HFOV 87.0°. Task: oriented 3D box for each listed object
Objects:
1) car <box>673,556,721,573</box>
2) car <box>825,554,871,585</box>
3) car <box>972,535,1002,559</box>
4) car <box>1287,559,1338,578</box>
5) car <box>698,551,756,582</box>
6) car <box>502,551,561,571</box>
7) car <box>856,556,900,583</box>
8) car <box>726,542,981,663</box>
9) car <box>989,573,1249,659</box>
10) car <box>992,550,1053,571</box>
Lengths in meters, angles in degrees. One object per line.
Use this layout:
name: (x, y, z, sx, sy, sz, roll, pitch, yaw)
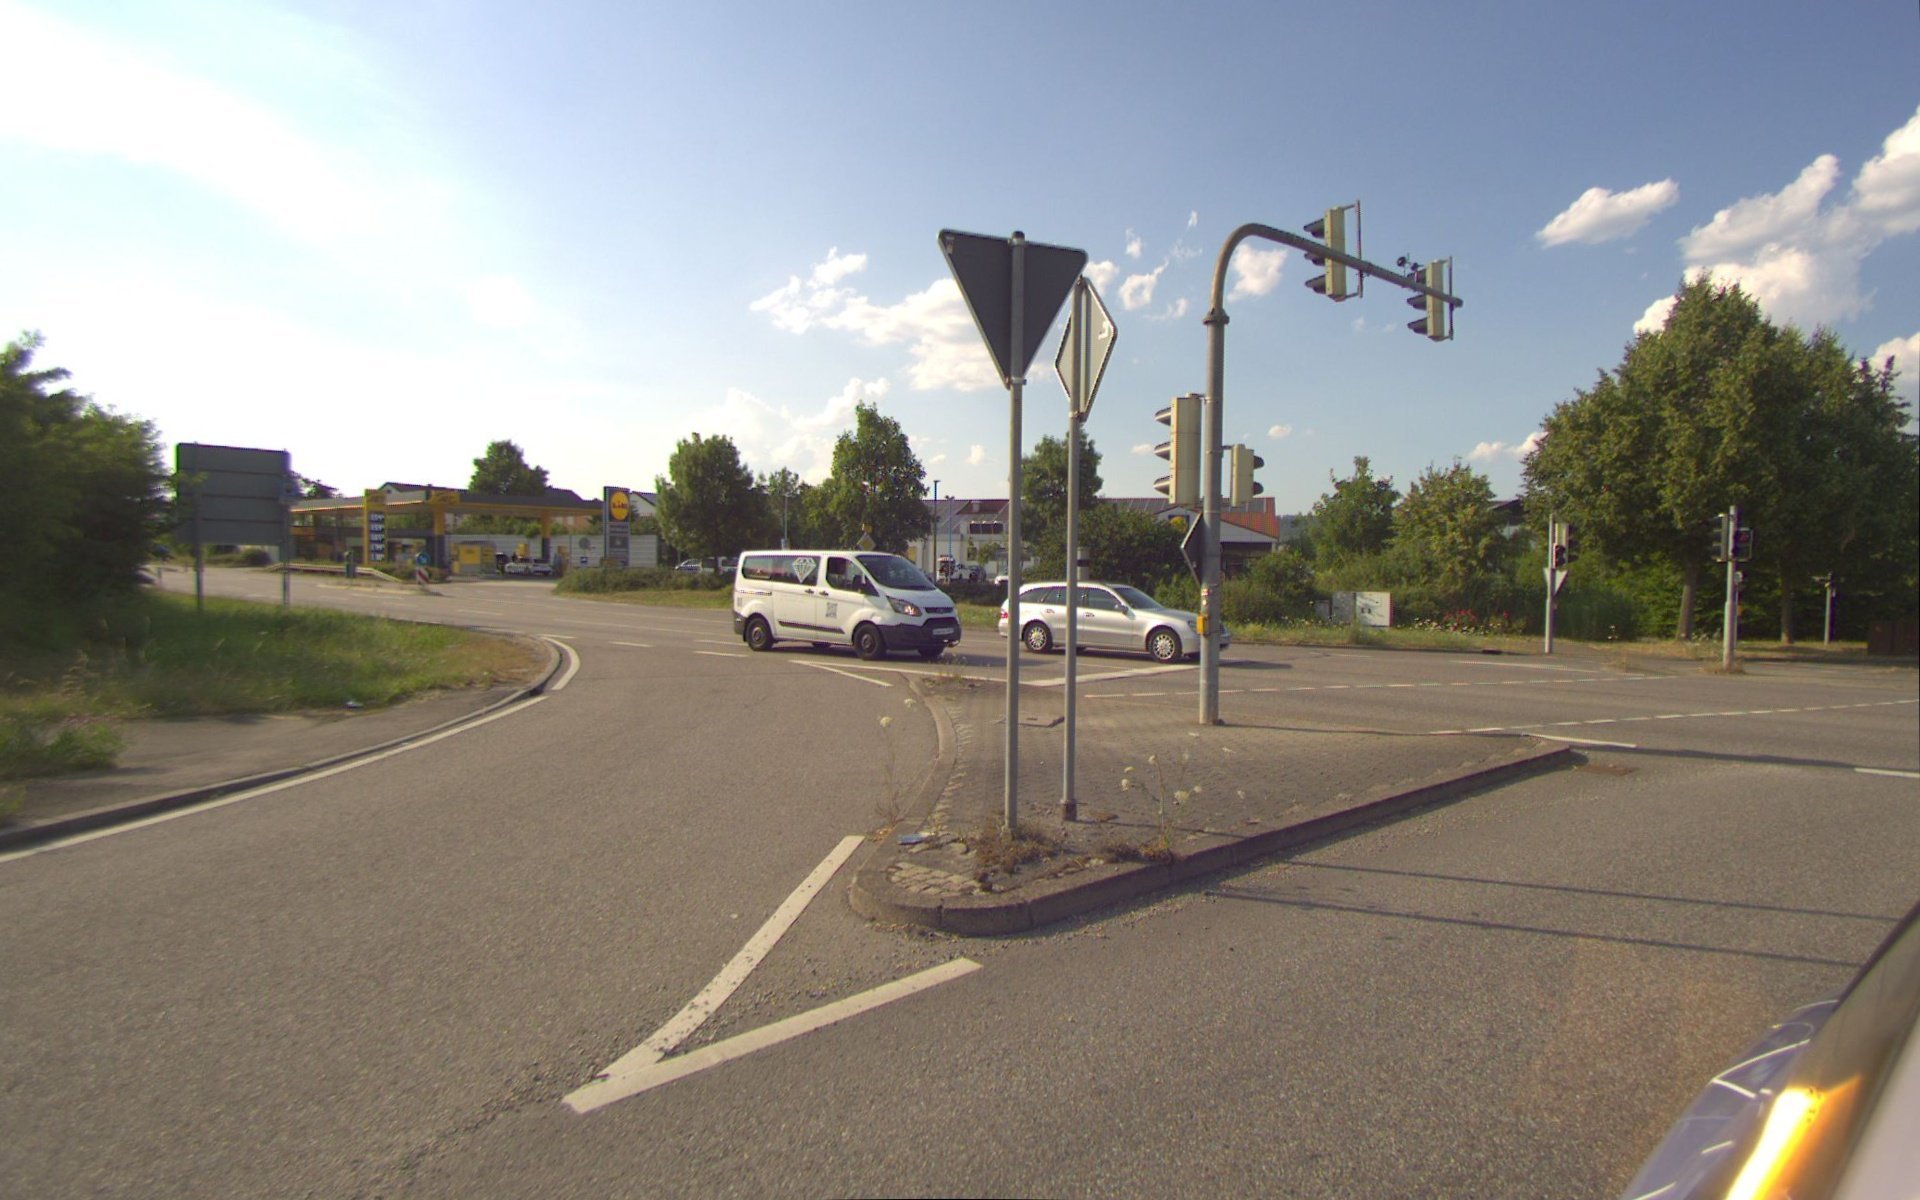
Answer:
car: (-24.680, -3.346, 94.997, 3.885, 1.392, 2.008, 2, 0, 19)
car: (-7.978, -2.139, 72.655, 1.937, 2.039, 4.640, 1, 0, 12)
car: (2.299, -4.454, 85.439, 1.803, 1.868, 3.774, 1, 0, 12)
car: (29.159, -2.603, 83.856, 3.885, 1.392, 2.008, 2, 0, 19)
car: (-17.243, -2.447, 75.232, 1.973, 2.039, 4.904, 1, 0, 17)
car: (-34.500, -3.100, 81.415, 4.827, 1.392, 2.260, 0, -1, 37)
car: (-6.820, -2.531, 84.511, 1.973, 2.039, 4.904, 1, 0, 17)
car: (-2.110, -0.042, 19.234, 4.791, 1.972, 1.881, 3, 2, 36)
car: (3.091, 0.251, 20.381, 4.928, 1.533, 1.837, 1, 0, 39)
car: (5.074, -3.168, 81.868, 4.721, 1.554, 1.843, 1, 0, 14)
